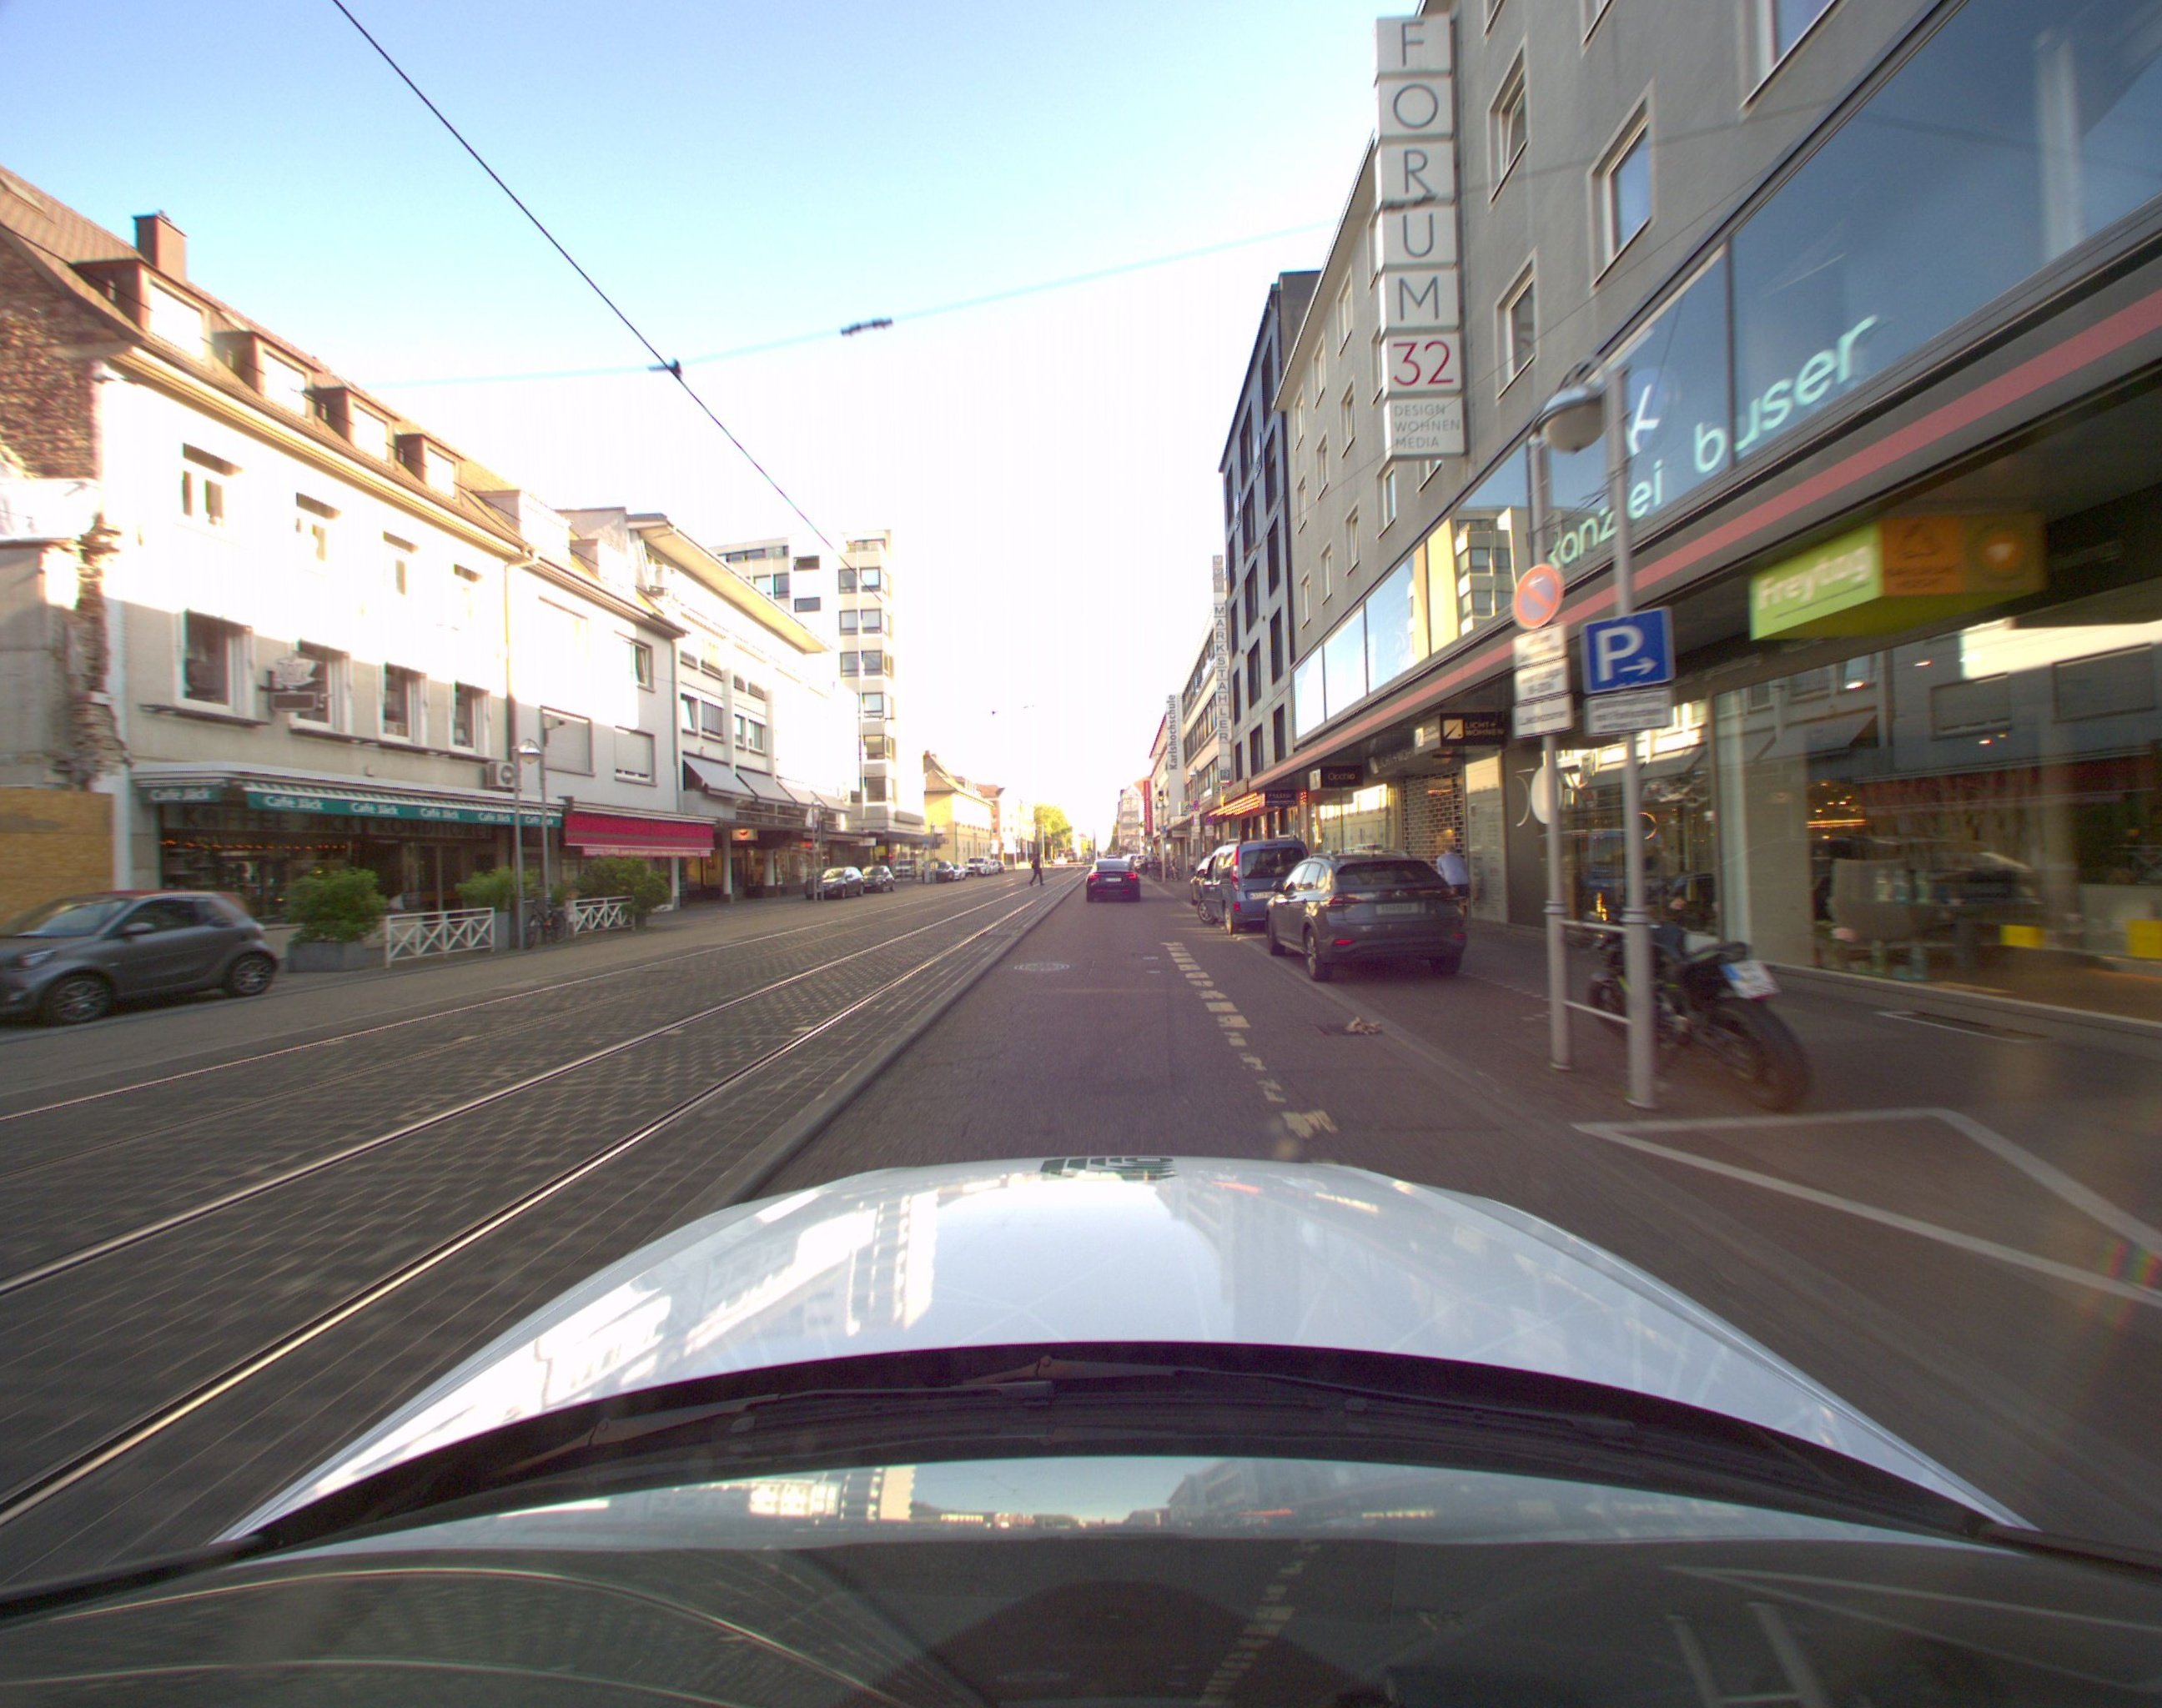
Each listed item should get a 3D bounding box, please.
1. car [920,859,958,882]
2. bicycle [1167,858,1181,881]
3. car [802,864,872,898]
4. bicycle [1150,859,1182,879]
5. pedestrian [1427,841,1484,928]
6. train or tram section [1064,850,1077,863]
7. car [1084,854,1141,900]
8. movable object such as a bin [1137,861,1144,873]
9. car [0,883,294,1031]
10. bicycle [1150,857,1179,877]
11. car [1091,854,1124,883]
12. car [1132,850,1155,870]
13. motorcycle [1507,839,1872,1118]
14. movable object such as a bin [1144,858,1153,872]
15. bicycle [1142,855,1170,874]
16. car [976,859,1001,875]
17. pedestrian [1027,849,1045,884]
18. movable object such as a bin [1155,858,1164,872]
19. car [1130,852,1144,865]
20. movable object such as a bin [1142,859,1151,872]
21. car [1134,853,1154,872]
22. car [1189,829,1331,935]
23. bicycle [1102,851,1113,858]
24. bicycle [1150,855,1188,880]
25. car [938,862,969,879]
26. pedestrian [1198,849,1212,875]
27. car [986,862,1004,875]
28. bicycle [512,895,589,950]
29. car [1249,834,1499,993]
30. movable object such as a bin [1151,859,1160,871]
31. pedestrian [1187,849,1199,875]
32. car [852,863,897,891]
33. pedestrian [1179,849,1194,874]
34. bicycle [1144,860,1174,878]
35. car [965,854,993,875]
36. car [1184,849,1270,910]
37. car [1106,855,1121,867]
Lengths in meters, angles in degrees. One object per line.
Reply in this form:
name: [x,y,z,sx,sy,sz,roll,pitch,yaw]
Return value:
car: [-10.908,1.261,62.968,1.971,1.678,4.657,0,0,2]
bicycle: [5.333,0.865,46.751,0.579,1.257,1.602,-4,-1,0]
car: [-11.778,1.269,39.653,1.730,1.523,4.855,0,0,3]
bicycle: [5.092,0.883,48.836,1.770,1.130,0.478,-3,0,-4]
pedestrian: [6.523,0.524,14.210,0.573,1.439,0.731,-4,-1,1]
train or tram section: [-2.852,0.741,226.973,2.663,3.715,14.201,0,0,3]
car: [1.048,0.762,28.407,1.842,1.484,3.787,-1,0,1]
movable object such as a bin: [4.862,1.059,66.387,0.485,0.958,0.458,-3,-1,5]
car: [-12.623,1.224,10.695,1.690,1.604,2.892,0,0,2]
bicycle: [5.363,0.822,52.517,1.781,1.217,0.587,-3,0,1]
car: [1.427,0.731,43.049,1.647,1.418,4.003,0,0,3]
car: [6.008,0.554,78.449,1.843,1.724,5.194,-4,-1,1]
motorcycle: [3.789,0.659,5.423,0.657,1.432,2.323,-3,-1,1]
movable object such as a bin: [5.485,0.921,66.367,0.687,1.089,0.686,-3,-1,5]
bicycle: [5.025,0.710,54.538,1.781,1.159,0.669,-3,0,1]
car: [-9.986,1.348,88.478,1.799,1.685,4.654,0,0,4]
pedestrian: [-2.432,0.698,44.133,0.801,1.837,0.746,-4,-1,0]
movable object such as a bin: [6.379,0.873,66.306,0.687,1.089,0.666,-3,-1,5]
car: [7.275,0.555,106.278,1.738,1.632,3.651,-3,0,2]
movable object such as a bin: [5.415,0.948,67.037,0.683,1.014,0.509,-3,-1,4]
car: [5.659,0.771,73.452,1.608,1.528,4.071,-3,-1,1]
car: [3.573,0.531,17.168,1.811,1.860,4.547,-3,-1,-2]
bicycle: [4.452,0.079,135.066,1.726,1.088,0.677,0,-1,-6]
bicycle: [5.181,0.808,48.042,2.035,1.274,0.523,-5,0,-8]
car: [-10.722,1.367,68.840,1.882,1.421,4.656,0,0,1]
pedestrian: [7.405,0.496,48.677,0.581,1.493,0.524,-4,-1,-7]
car: [-9.863,1.679,93.315,1.608,1.400,3.721,0,0,1]
bicycle: [-11.750,1.483,18.101,0.516,1.090,1.717,0,0,2]
car: [3.571,0.650,10.845,1.757,1.577,4.288,-4,-1,1]
movable object such as a bin: [6.150,0.898,66.991,0.655,1.014,0.637,-3,-1,4]
pedestrian: [6.987,0.507,50.687,0.579,1.585,0.598,-4,-1,0]
car: [-11.480,1.251,45.451,1.596,1.523,3.588,0,0,-1]
pedestrian: [6.747,0.481,52.137,0.585,1.486,0.591,-4,-1,-29]
bicycle: [4.889,0.929,51.155,1.767,1.032,0.597,-3,0,1]
car: [-10.230,1.035,81.921,1.986,1.975,5.098,0,0,1]
car: [4.075,0.674,23.388,1.715,1.484,4.418,-4,-1,2]
car: [4.333,0.935,110.027,1.778,1.519,4.216,0,0,-1]
